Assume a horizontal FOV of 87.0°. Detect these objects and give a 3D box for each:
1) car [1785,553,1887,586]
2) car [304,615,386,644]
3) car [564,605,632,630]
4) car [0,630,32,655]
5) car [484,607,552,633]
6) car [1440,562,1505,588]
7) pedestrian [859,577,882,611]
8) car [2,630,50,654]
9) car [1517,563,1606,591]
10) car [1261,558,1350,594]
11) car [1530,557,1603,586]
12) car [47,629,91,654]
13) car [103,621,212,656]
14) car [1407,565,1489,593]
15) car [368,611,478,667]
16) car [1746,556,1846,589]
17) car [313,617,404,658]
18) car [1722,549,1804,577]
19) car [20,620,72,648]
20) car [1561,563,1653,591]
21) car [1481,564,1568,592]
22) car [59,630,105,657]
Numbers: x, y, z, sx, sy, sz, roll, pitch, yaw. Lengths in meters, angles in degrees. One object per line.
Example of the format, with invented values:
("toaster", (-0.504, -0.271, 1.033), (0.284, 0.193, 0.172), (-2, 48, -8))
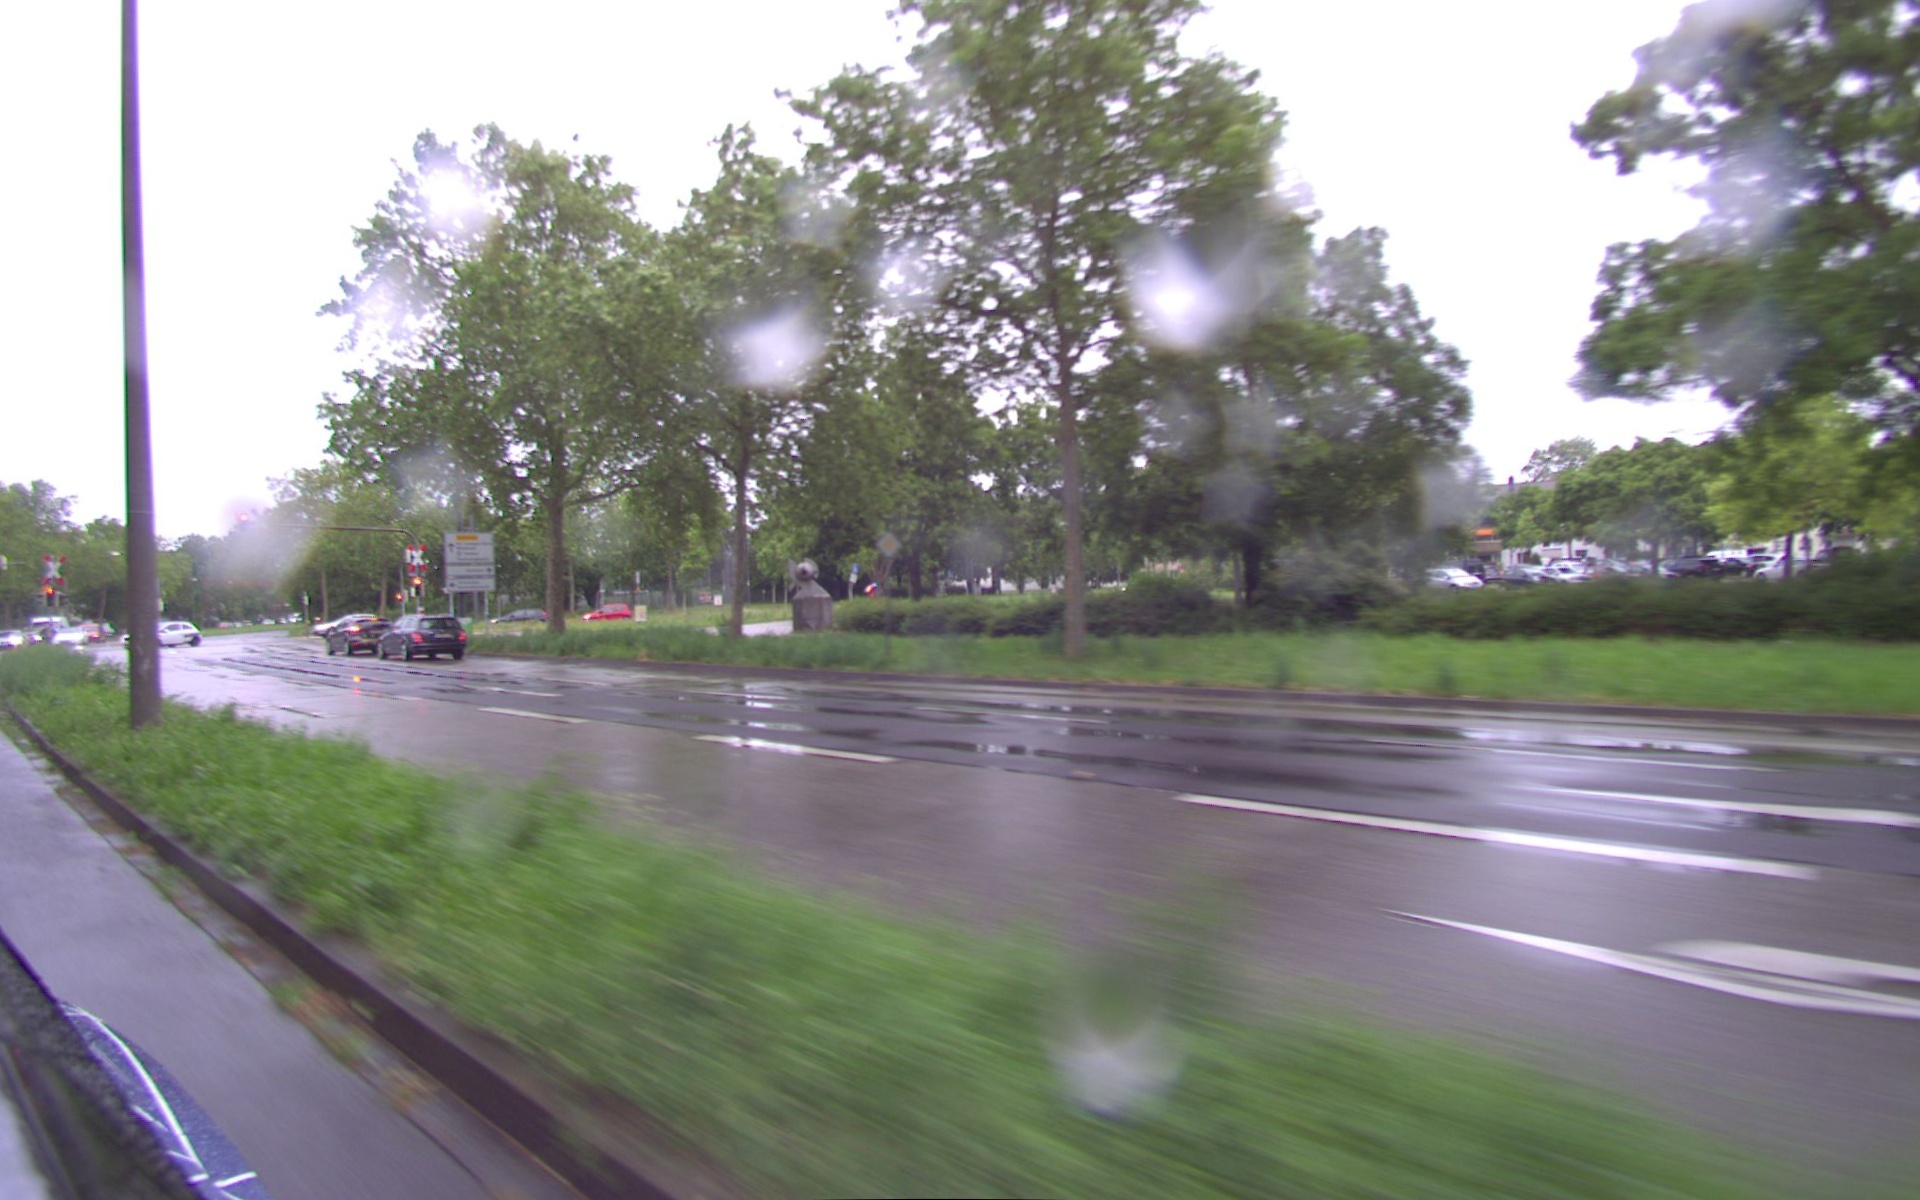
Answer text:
("car", (55.202, -1.879, 63.875), (1.966, 1.916, 4.511), (-2, 1, -14))
("car", (-40.229, 1.886, 66.335), (4.426, 1.641, 2.006), (-3, 1, -27))
("car", (-26.876, 1.280, 75.154), (4.444, 1.641, 2.006), (-3, 1, -27))
("car", (-68.380, 3.068, 72.480), (1.966, 1.641, 4.535), (-3, 1, -32))
("car", (-32.633, 1.465, 74.781), (4.444, 1.641, 2.006), (-3, 1, -27))
("car", (40.360, -1.922, 79.813), (1.966, 1.916, 4.511), (-2, 1, -14))
("pedestrian", (-5.421, -0.347, 60.975), (0.885, 2.029, 1.021), (-2, 1, -40))
("car", (-72.995, 3.244, 79.146), (1.967, 1.641, 4.534), (-3, 1, -33))
("car", (36.497, -1.349, 61.538), (1.966, 1.548, 4.511), (-2, 1, -14))
("car", (23.331, -1.594, 68.441), (5.327, 2.190, 2.005), (-2, 1, -12))
("car", (44.562, -2.076, 74.481), (1.966, 1.916, 4.511), (-2, 1, -14))
("car", (-65.624, 3.005, 74.587), (1.967, 1.641, 4.532), (-3, 1, -36))
("car", (-44.158, 2.088, 55.810), (1.979, 1.641, 4.506), (-2, 1, 11))
("car", (29.246, -1.224, 60.796), (1.966, 1.548, 4.511), (-2, 1, -14))
("car", (-17.745, 1.235, 33.382), (4.333, 1.643, 1.971), (-2, 1, 45))
("car", (52.615, -1.689, 63.808), (1.966, 1.916, 4.511), (-2, 1, -14))
("car", (-23.217, 1.423, 39.031), (4.333, 1.384, 1.971), (-2, 1, 45))
("car", (60.379, -2.750, 76.216), (1.966, 1.916, 4.511), (-2, 1, -14))
("car", (-76.552, 2.787, 84.843), (1.966, 2.123, 5.159), (-2, 1, -29))
("car", (39.242, -1.389, 61.519), (1.966, 1.548, 4.511), (-2, 1, -14))
("car", (34.211, -1.309, 61.457), (1.966, 1.548, 4.511), (-2, 1, -14))
("car", (-69.510, 3.447, 80.178), (1.966, 1.901, 4.535), (-2, 1, -31))
